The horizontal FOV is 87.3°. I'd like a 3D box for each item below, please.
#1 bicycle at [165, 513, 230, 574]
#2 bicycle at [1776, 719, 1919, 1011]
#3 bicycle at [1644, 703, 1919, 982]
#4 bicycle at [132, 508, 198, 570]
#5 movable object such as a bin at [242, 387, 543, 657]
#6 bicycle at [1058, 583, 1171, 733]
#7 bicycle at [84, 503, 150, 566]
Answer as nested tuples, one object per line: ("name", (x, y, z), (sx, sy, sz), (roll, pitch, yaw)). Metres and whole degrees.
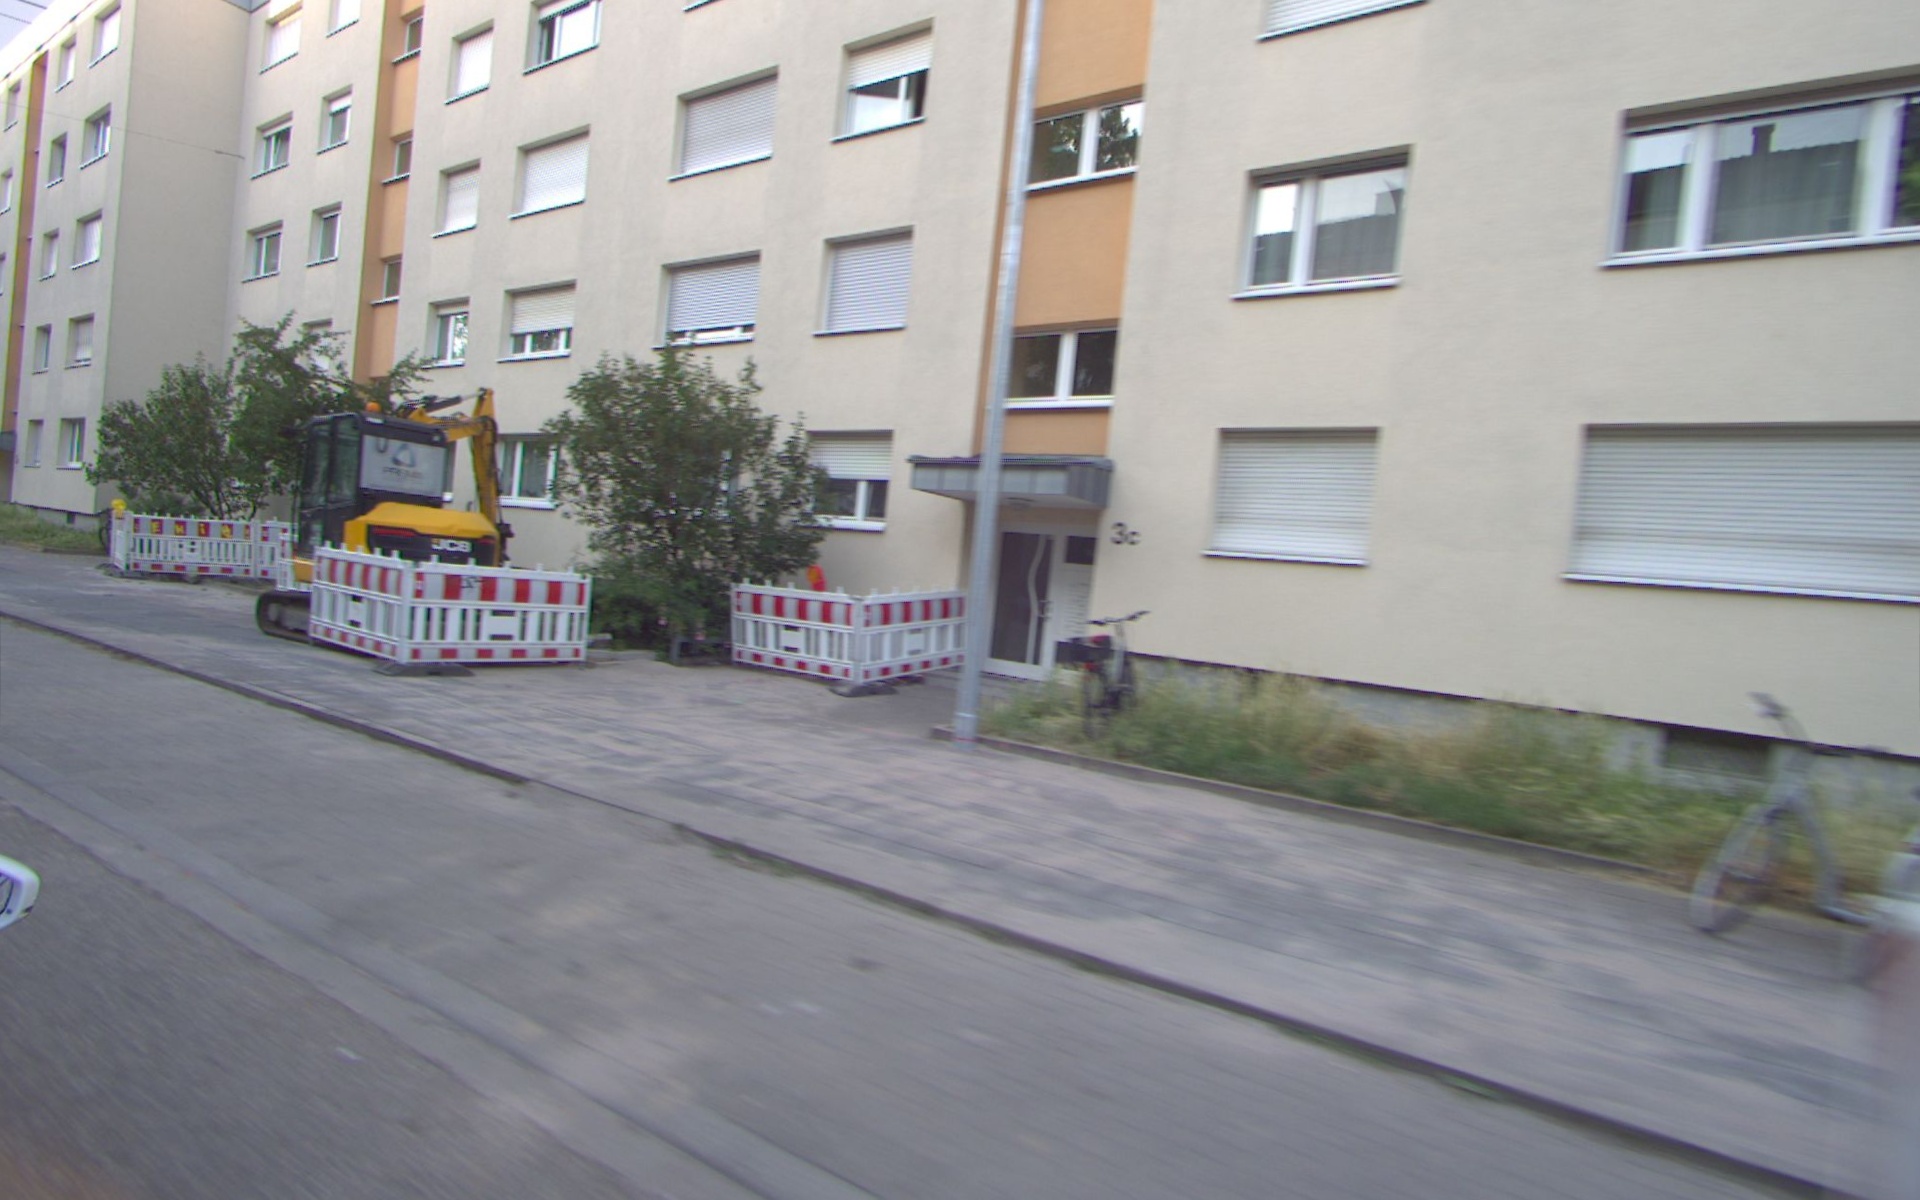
("bicycle", (-17.096, -1.270, 22.547), (1.788, 1.187, 0.556), (7, 1, 35))
("bicycle", (4.886, 1.266, 4.477), (1.782, 1.187, 0.558), (7, 1, 12))
("bicycle", (4.736, 1.264, 5.181), (1.782, 1.187, 0.628), (7, 1, 15))
("bicycle", (-17.445, -1.342, 22.060), (1.788, 1.187, 0.556), (7, 1, 35))
("movable object such as a bin", (-6.738, -0.876, 11.911), (2.847, 2.727, 1.932), (7, 1, 36))
("bicycle", (1.472, 0.534, 9.371), (0.476, 1.237, 1.596), (7, 0, 25))
("bicycle", (-18.153, -1.422, 21.646), (1.788, 1.187, 0.556), (7, 1, 35))
